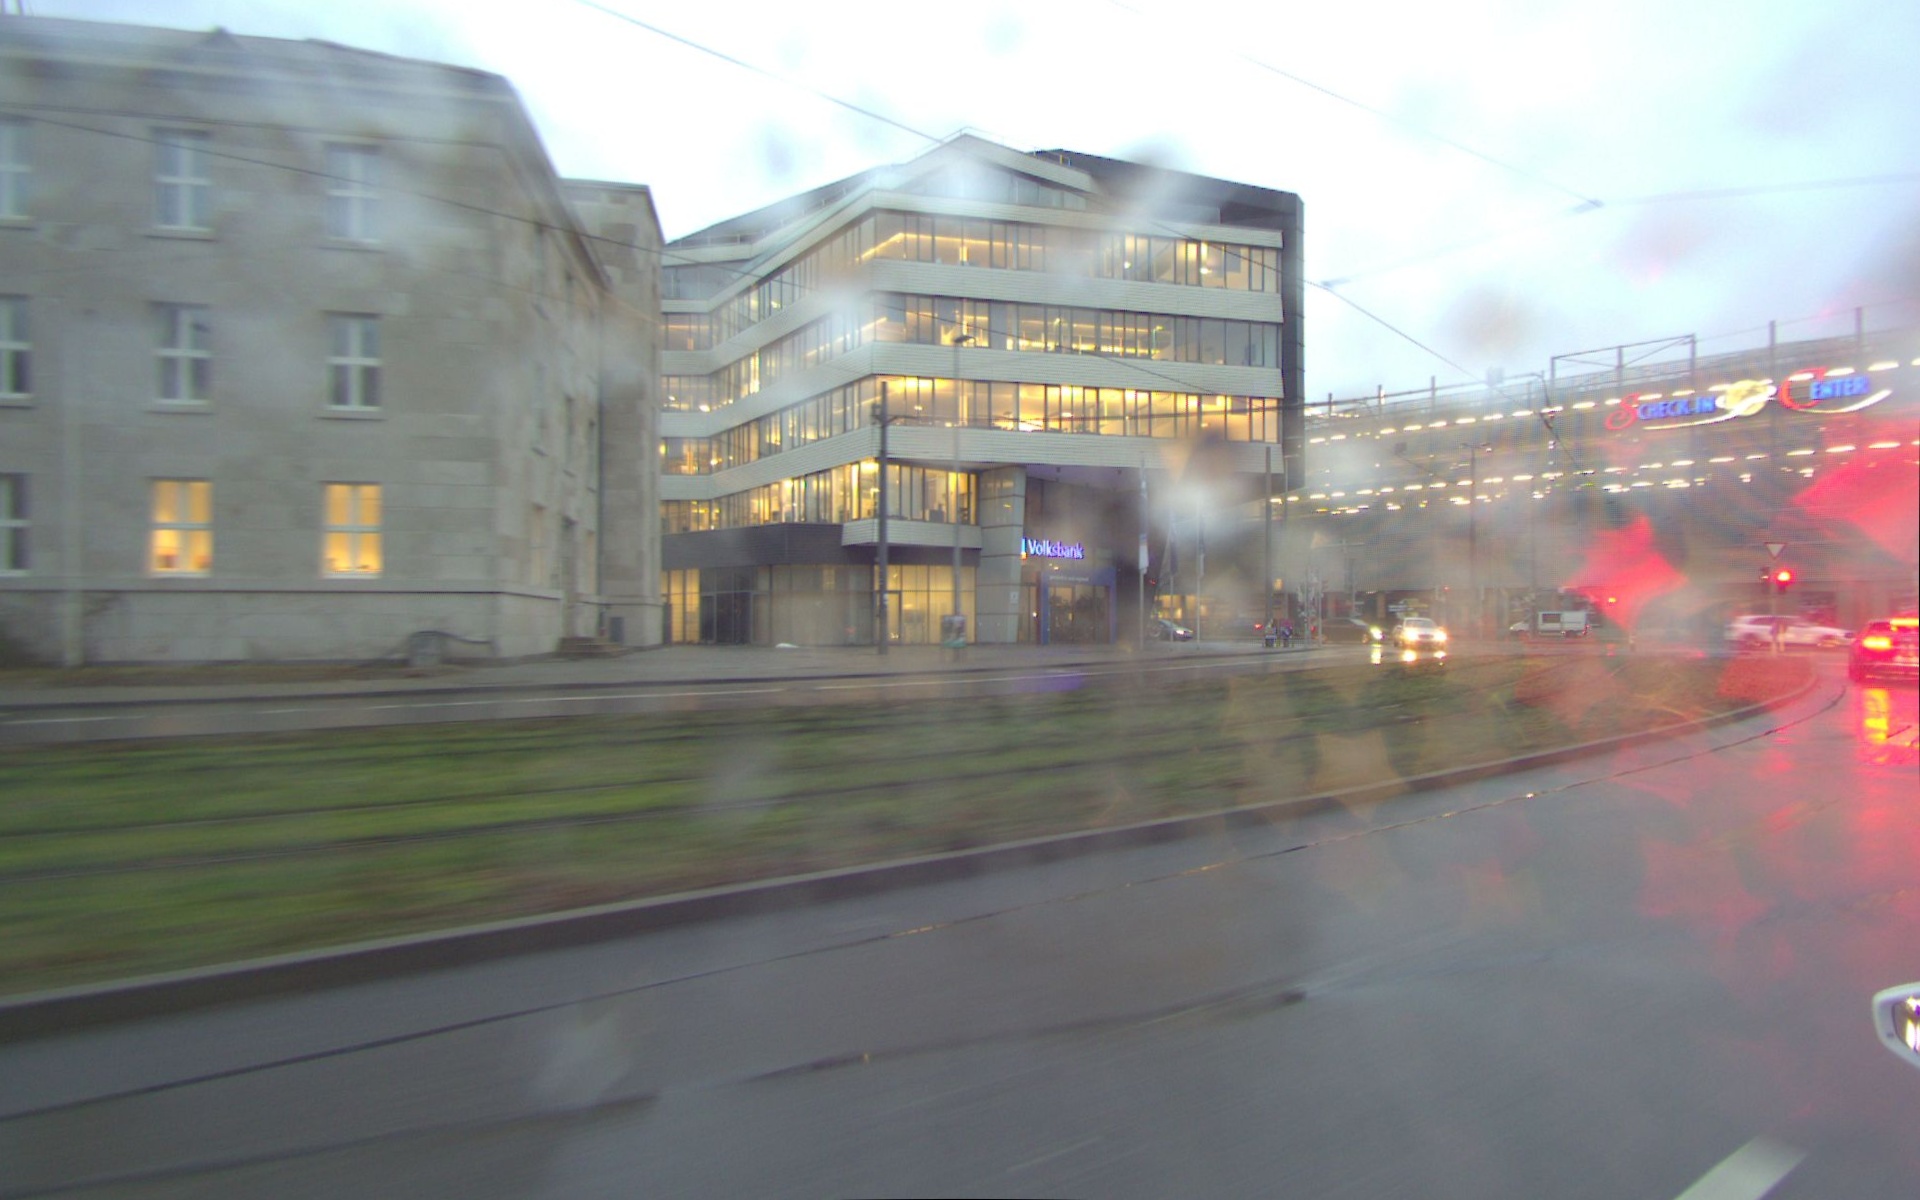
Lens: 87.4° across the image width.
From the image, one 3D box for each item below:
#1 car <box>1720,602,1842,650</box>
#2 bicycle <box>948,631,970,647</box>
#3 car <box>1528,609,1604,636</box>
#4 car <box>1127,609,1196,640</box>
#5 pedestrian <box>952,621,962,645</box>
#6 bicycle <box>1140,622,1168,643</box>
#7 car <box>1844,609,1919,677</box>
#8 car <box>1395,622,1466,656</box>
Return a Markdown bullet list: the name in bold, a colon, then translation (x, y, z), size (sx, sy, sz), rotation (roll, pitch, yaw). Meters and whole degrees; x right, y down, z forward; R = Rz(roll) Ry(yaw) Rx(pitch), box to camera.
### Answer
- **car**: translation (38.687, 1.164, 47.469), size (4.300, 2.041, 1.992), rotation (2, 1, 37)
- **bicycle**: translation (-0.049, 1.776, 45.582), size (0.900, 0.724, 0.481), rotation (0, -1, -25)
- **car**: translation (49.514, 1.833, 82.126), size (5.017, 1.988, 1.882), rotation (2, 1, 40)
- **car**: translation (13.152, 1.619, 65.530), size (3.933, 1.899, 1.994), rotation (-2, -1, 34)
- **pedestrian**: translation (-0.139, 1.501, 45.691), size (0.381, 1.103, 0.324), rotation (0, -1, -11)
- **bicycle**: translation (10.369, 1.732, 53.727), size (1.597, 1.105, 0.550), rotation (1, -1, -38)
- **car**: translation (23.695, 1.060, 25.529), size (1.732, 1.595, 3.980), rotation (-1, -2, 40)
- **car**: translation (22.607, 1.818, 48.172), size (1.800, 1.454, 4.630), rotation (2, 1, 42)
